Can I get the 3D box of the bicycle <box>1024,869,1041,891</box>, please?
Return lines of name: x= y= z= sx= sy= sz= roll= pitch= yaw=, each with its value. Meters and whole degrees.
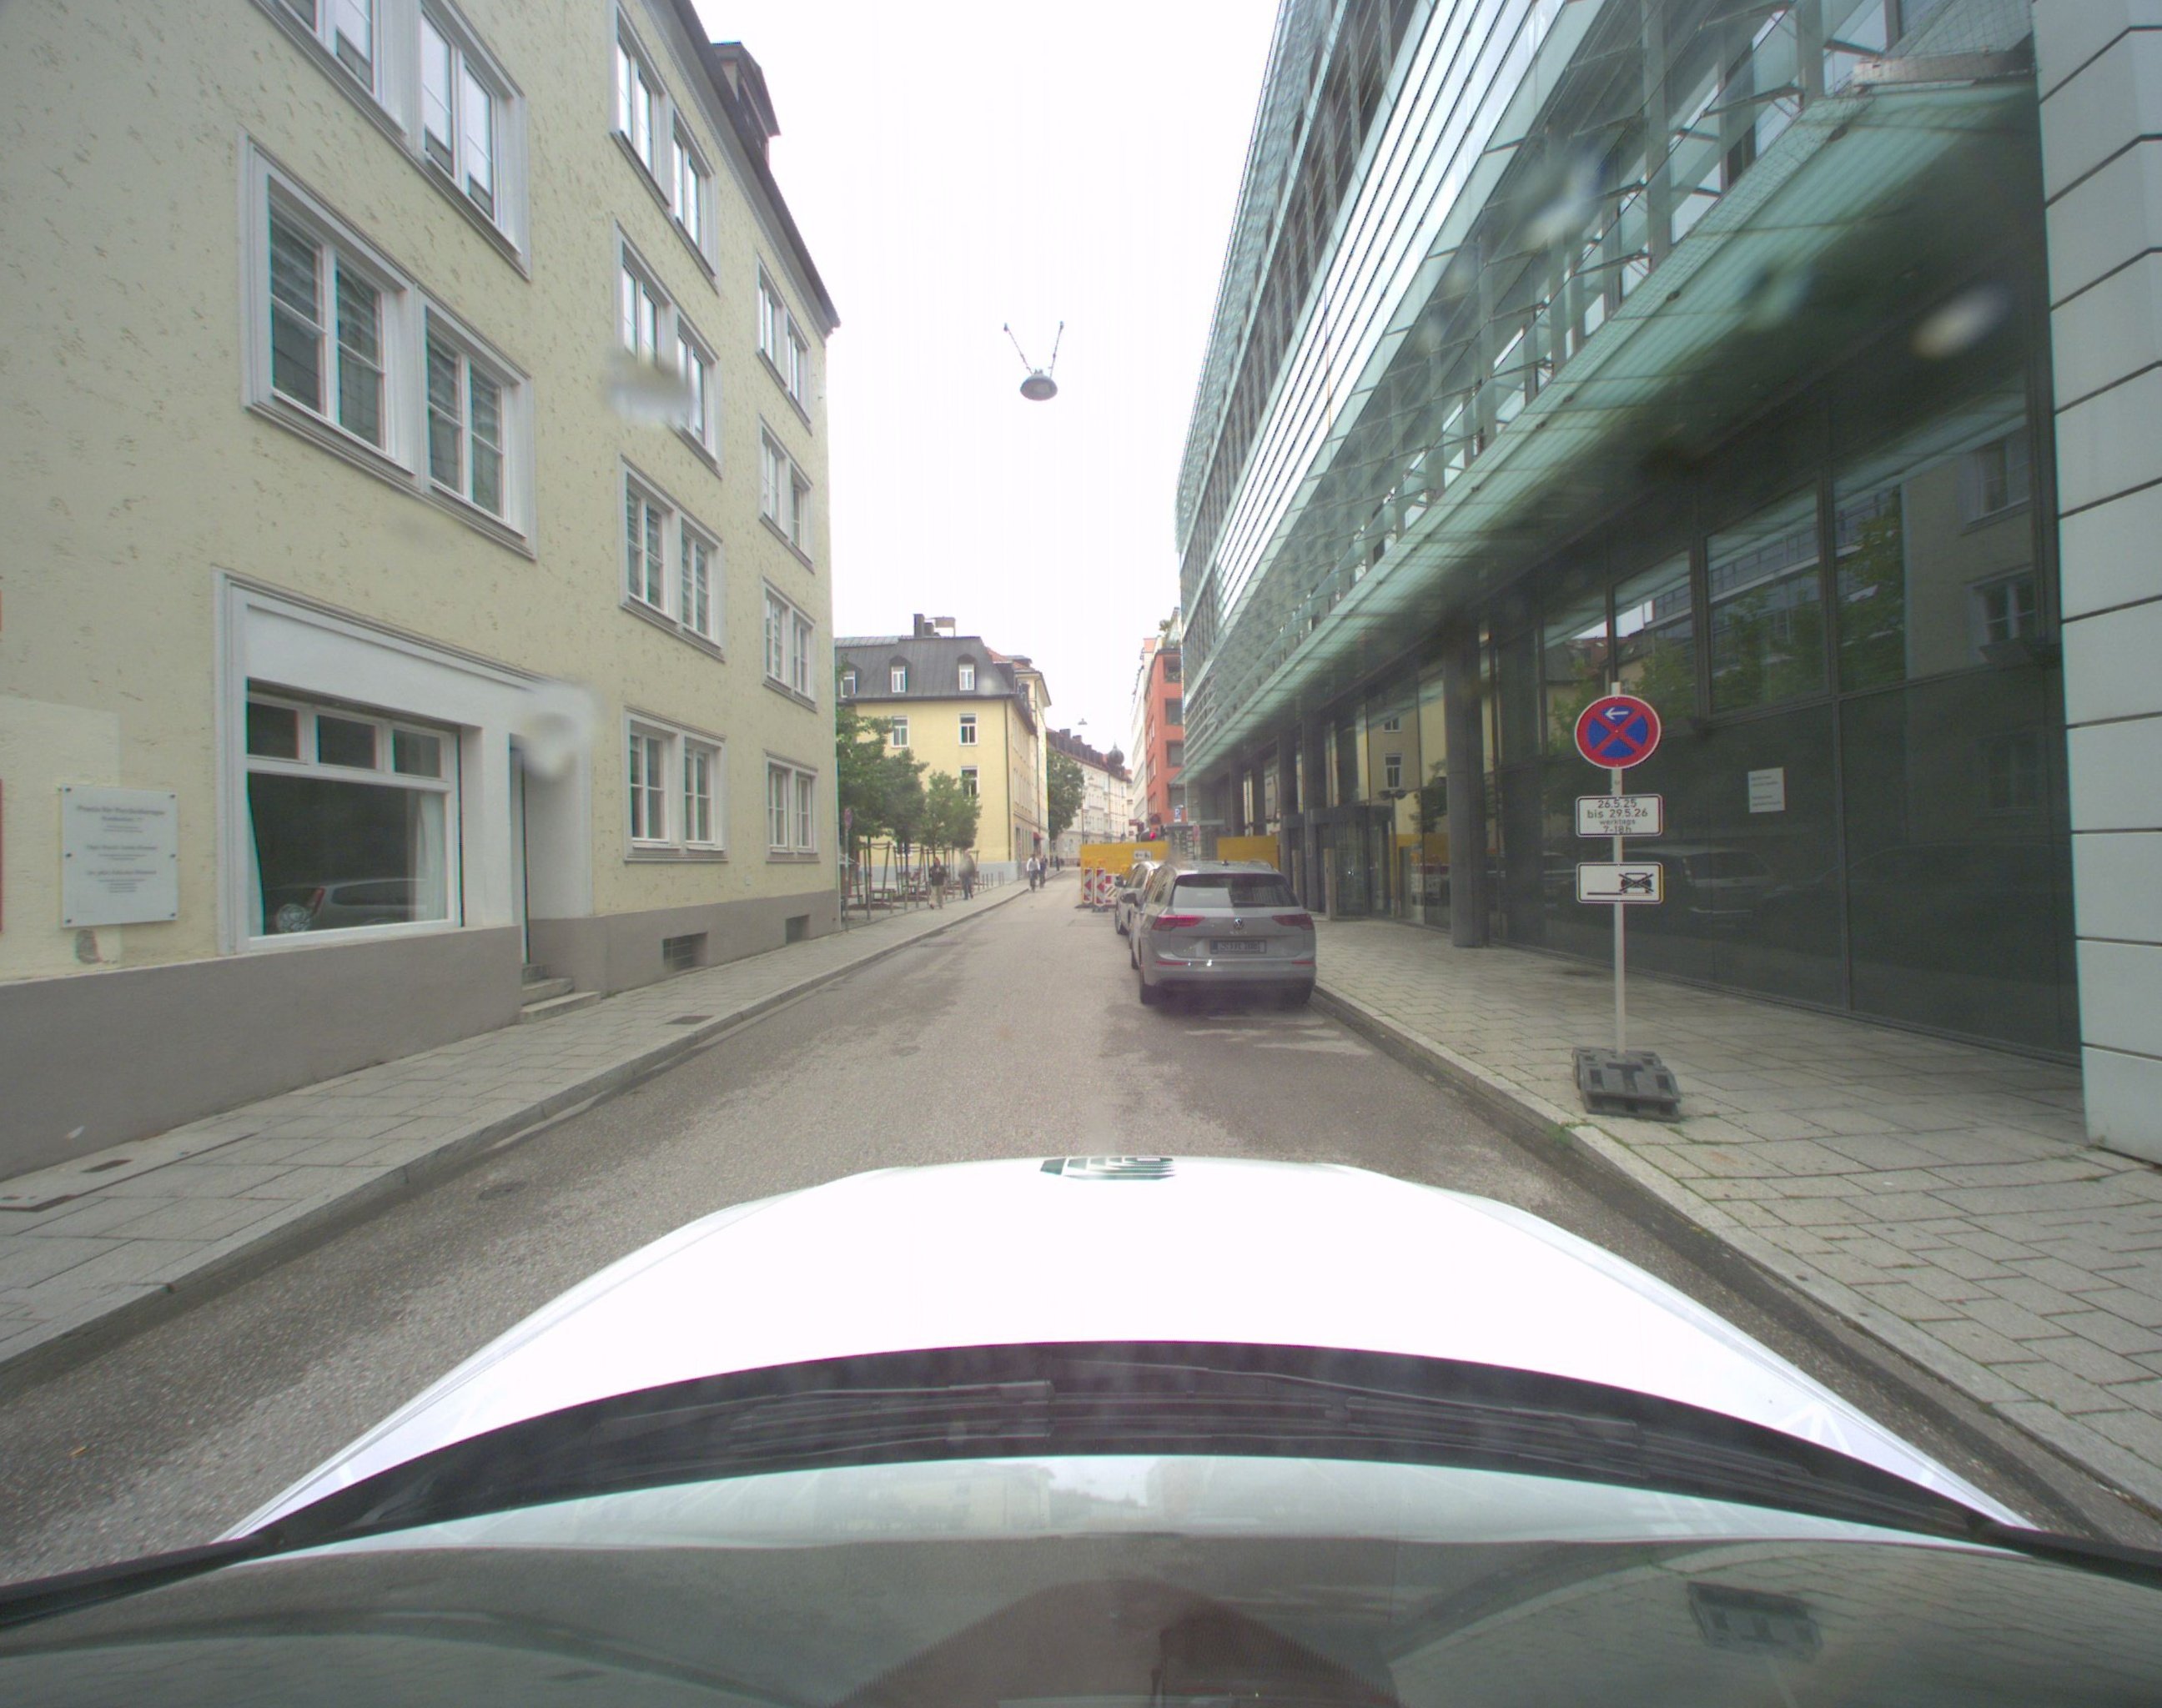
bicycle: x=-2.344 y=1.255 z=39.868 sx=0.659 sy=1.039 sz=2.005 roll=-2 pitch=0 yaw=1

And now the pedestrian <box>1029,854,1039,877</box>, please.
pedestrian: x=-3.449 y=0.827 z=59.962 sx=0.668 sy=1.648 sz=0.761 roll=-1 pitch=-1 yaw=0

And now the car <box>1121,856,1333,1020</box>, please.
car: x=1.433 y=0.778 z=9.544 sx=1.702 sy=1.432 sz=4.329 roll=-2 pitch=0 yaw=0

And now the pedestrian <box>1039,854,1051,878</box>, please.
pedestrian: x=-2.630 y=0.853 z=59.315 sx=0.836 sy=1.700 sz=0.803 roll=-1 pitch=-1 yaw=0

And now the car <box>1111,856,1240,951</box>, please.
car: x=1.551 y=0.791 z=14.838 sx=1.703 sy=1.467 sz=4.233 roll=0 pitch=-1 yaw=-2

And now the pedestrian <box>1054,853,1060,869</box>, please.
pedestrian: x=-2.528 y=0.716 z=85.305 sx=0.632 sy=1.675 sz=0.517 roll=-1 pitch=0 yaw=0

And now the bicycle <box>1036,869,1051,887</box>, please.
bicycle: x=-2.024 y=1.318 z=44.201 sx=0.705 sy=0.905 sz=1.809 roll=-2 pitch=0 yaw=1

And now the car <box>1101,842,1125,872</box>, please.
car: x=2.807 y=0.301 z=72.128 sx=1.987 sy=2.536 sz=4.974 roll=-1 pitch=0 yaw=0

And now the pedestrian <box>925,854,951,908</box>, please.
pedestrian: x=-4.509 y=0.844 z=25.697 sx=0.645 sy=1.676 sz=0.723 roll=-1 pitch=-1 yaw=0

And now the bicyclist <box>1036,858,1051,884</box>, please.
bicyclist: x=-2.029 y=0.906 z=44.241 sx=0.705 sy=1.371 sz=0.813 roll=-2 pitch=-1 yaw=0

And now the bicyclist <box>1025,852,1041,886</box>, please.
bicyclist: x=-2.353 y=0.738 z=39.948 sx=0.657 sy=1.643 sz=0.895 roll=-2 pitch=-1 yaw=0

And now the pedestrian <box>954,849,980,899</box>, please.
pedestrian: x=-4.444 y=0.772 z=31.813 sx=0.865 sy=1.881 sz=1.134 roll=-1 pitch=-1 yaw=0

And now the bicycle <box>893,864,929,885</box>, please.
bicycle: x=-10.254 y=1.234 z=49.082 sx=2.032 sy=1.198 sz=0.571 roll=-1 pitch=0 yaw=7

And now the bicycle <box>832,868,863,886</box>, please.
bicycle: x=-13.992 y=1.395 z=48.825 sx=1.648 sy=1.069 sz=0.598 roll=-1 pitch=-1 yaw=4

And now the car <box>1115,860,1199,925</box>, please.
car: x=1.745 y=0.869 z=19.996 sx=1.702 sy=1.414 sz=4.510 roll=0 pitch=-1 yaw=1
